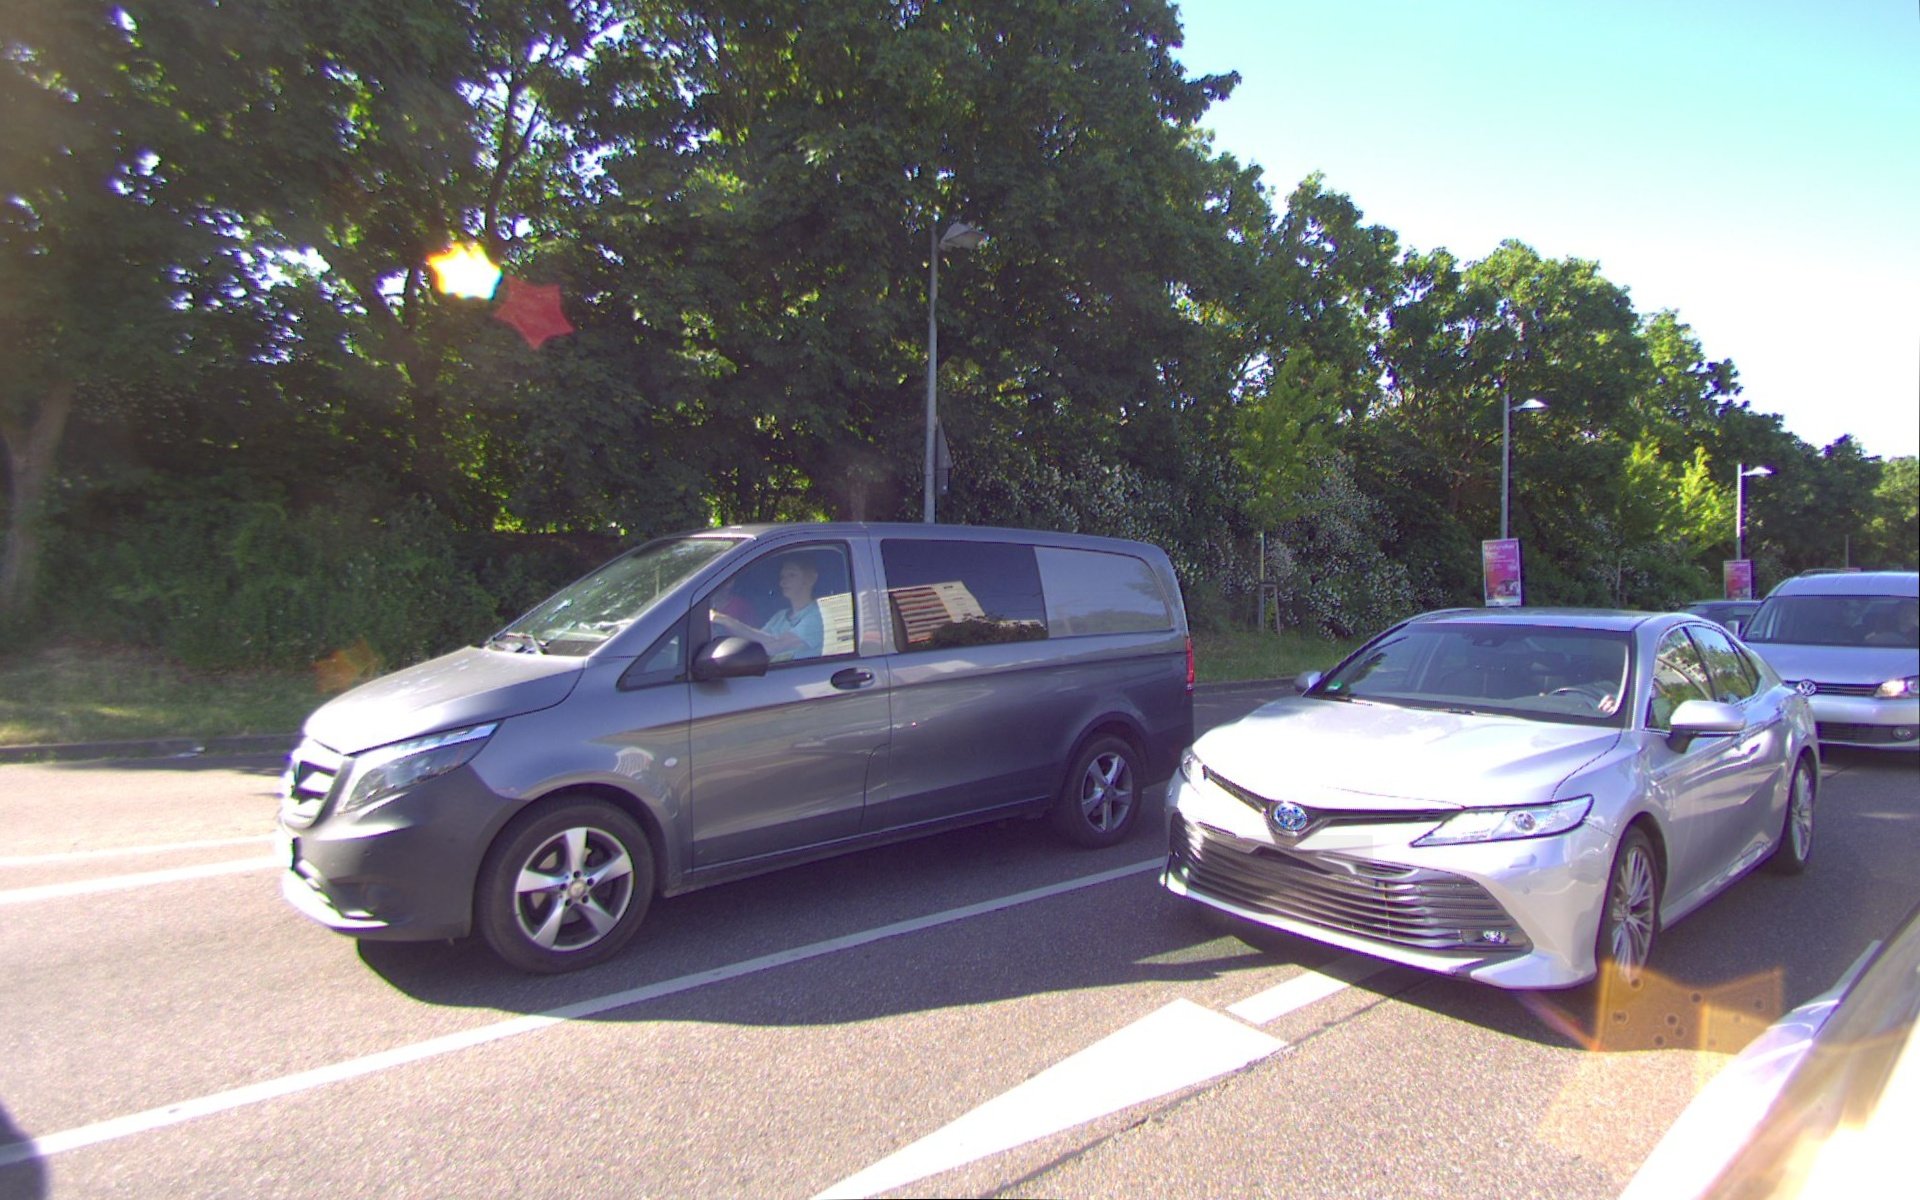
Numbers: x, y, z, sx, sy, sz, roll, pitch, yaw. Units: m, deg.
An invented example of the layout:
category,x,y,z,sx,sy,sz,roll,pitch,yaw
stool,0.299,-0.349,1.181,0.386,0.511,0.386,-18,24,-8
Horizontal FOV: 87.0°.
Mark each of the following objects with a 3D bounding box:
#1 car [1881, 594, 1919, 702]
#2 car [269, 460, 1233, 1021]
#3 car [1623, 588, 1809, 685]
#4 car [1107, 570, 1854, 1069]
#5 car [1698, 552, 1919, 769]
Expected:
category,x,y,z,sx,sy,sz,roll,pitch,yaw
car,14.993,0.674,14.917,4.126,1.472,1.715,0,1,-43
car,-0.760,0.440,5.664,5.011,1.875,1.809,0,2,-39
car,13.593,0.564,18.110,4.151,1.527,1.771,-1,0,-40
car,2.985,0.662,5.249,4.599,1.512,1.808,0,0,-40
car,9.501,0.483,10.549,4.504,1.844,1.809,-1,1,-39
